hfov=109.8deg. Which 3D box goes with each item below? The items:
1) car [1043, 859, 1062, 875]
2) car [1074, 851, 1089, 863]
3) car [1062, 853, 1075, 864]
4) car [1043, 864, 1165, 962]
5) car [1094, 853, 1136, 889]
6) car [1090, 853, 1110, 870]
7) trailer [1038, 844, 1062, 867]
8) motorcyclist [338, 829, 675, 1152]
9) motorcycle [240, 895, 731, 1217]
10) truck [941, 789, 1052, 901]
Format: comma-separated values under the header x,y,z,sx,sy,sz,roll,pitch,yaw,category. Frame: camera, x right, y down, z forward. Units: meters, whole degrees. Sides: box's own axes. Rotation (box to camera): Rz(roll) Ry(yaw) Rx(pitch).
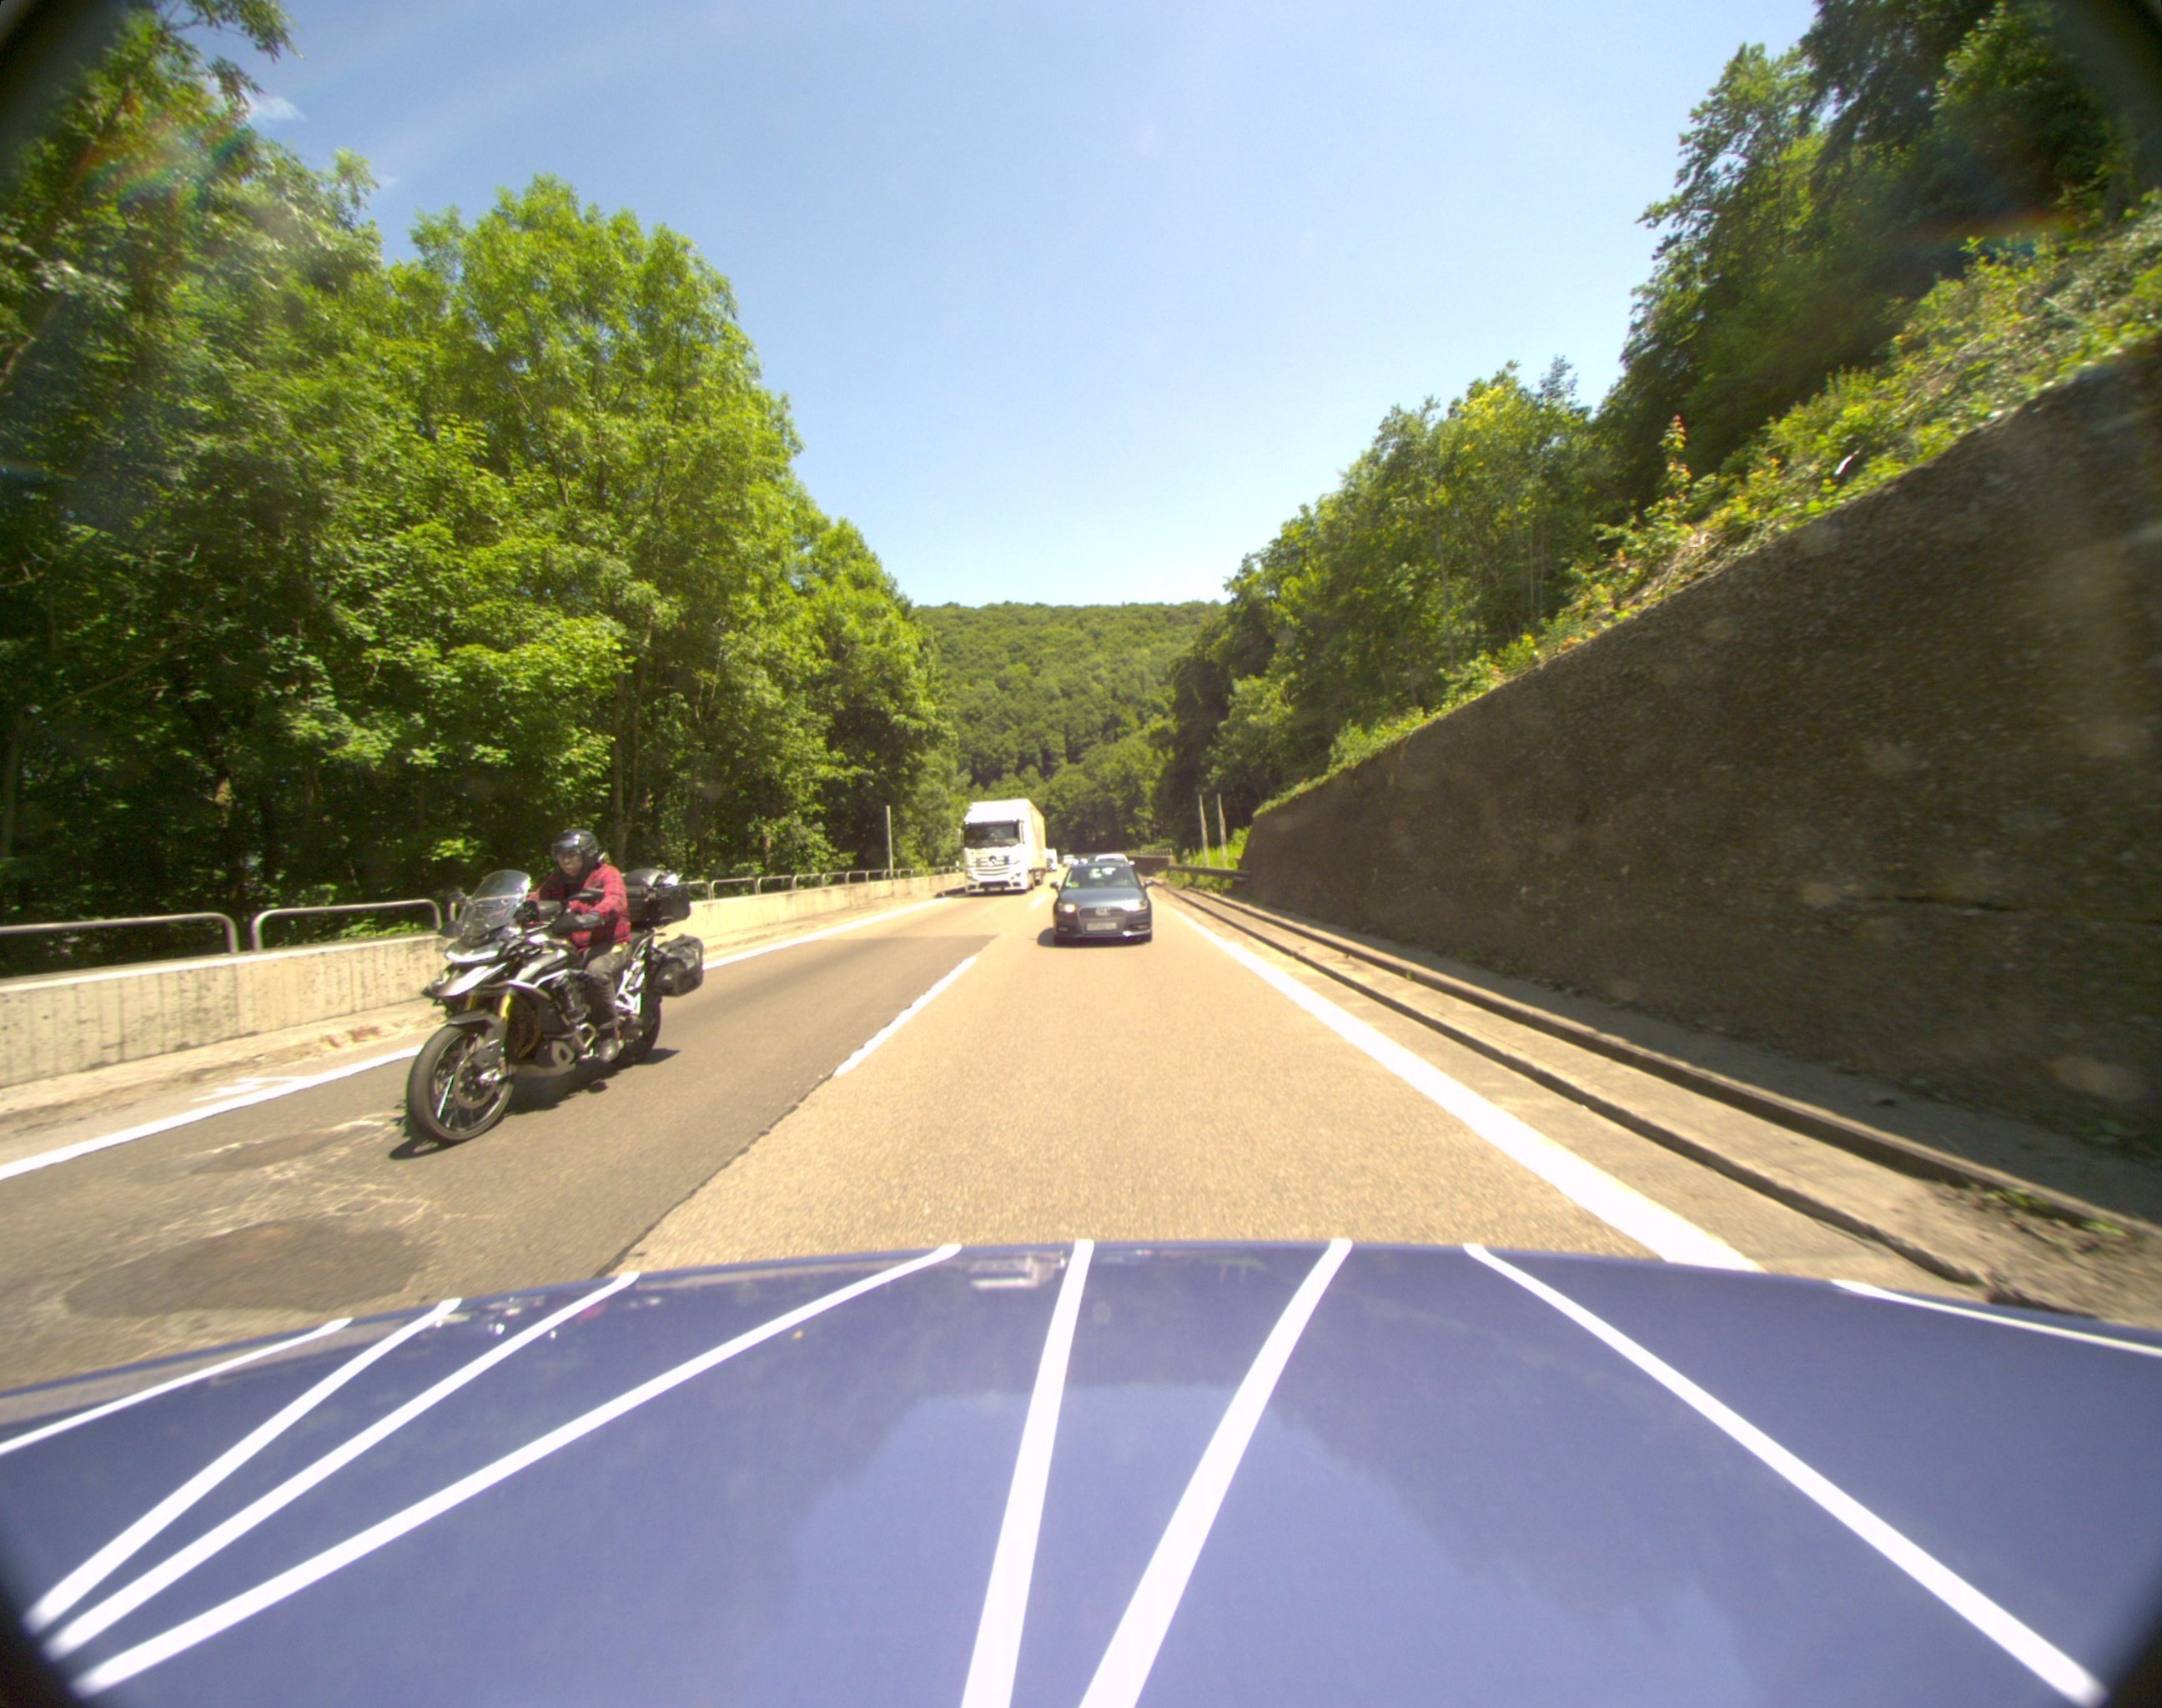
x,y,z,sx,sy,sz,roll,pitch,yaw,category
-3.238,1.437,84.766,1.999,1.652,3.998,-2,0,-4,car
0.080,0.415,99.754,1.619,1.487,3.654,-4,0,-4,car
-1.919,0.679,113.138,1.619,1.487,3.654,-1,0,-5,car
0.331,0.894,13.222,1.755,1.350,4.121,-1,0,0,car
1.517,0.722,33.908,1.755,1.460,3.982,-1,0,3,car
1.714,0.686,70.359,1.755,1.480,3.982,-1,0,1,car
-3.736,0.183,93.505,2.527,2.694,9.503,-1,0,0,trailer
-3.562,0.765,4.898,1.063,1.790,1.338,-1,1,4,motorcyclist
-3.529,1.059,5.042,0.974,1.411,2.682,-1,0,4,motorcycle
-3.507,-0.424,37.057,2.968,4.109,16.706,-3,1,1,truck
